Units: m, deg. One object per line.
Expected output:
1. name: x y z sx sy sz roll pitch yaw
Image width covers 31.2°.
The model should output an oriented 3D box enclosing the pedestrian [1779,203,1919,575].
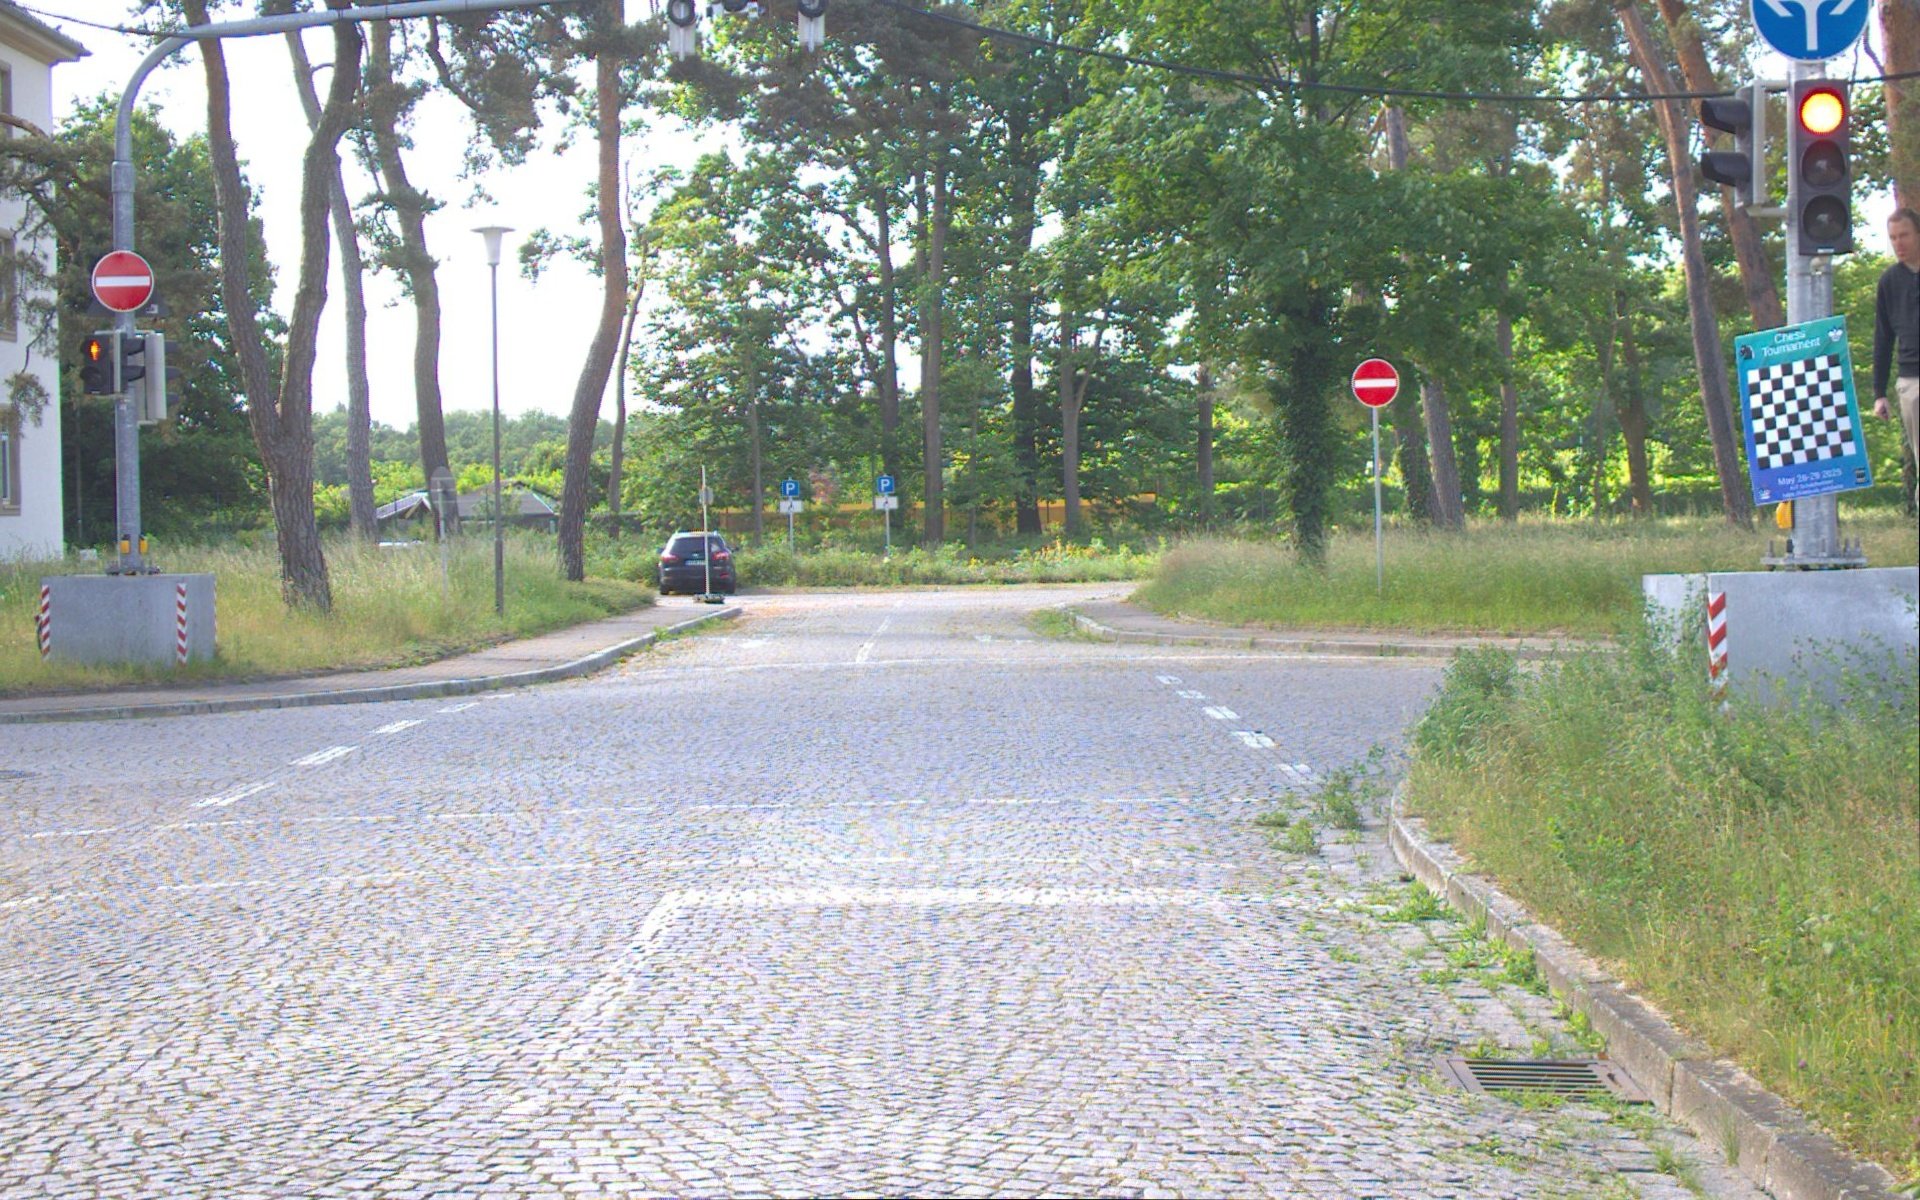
1. pedestrian: 4.838 -1.049 17.166 1.170 1.790 1.061 -1 2 29

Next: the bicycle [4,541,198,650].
1. bicycle: -8.865 -0.055 35.540 0.634 1.062 1.946 0 2 39

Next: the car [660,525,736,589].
1. car: -6.459 -1.084 84.921 1.709 1.491 3.919 -1 1 -2
